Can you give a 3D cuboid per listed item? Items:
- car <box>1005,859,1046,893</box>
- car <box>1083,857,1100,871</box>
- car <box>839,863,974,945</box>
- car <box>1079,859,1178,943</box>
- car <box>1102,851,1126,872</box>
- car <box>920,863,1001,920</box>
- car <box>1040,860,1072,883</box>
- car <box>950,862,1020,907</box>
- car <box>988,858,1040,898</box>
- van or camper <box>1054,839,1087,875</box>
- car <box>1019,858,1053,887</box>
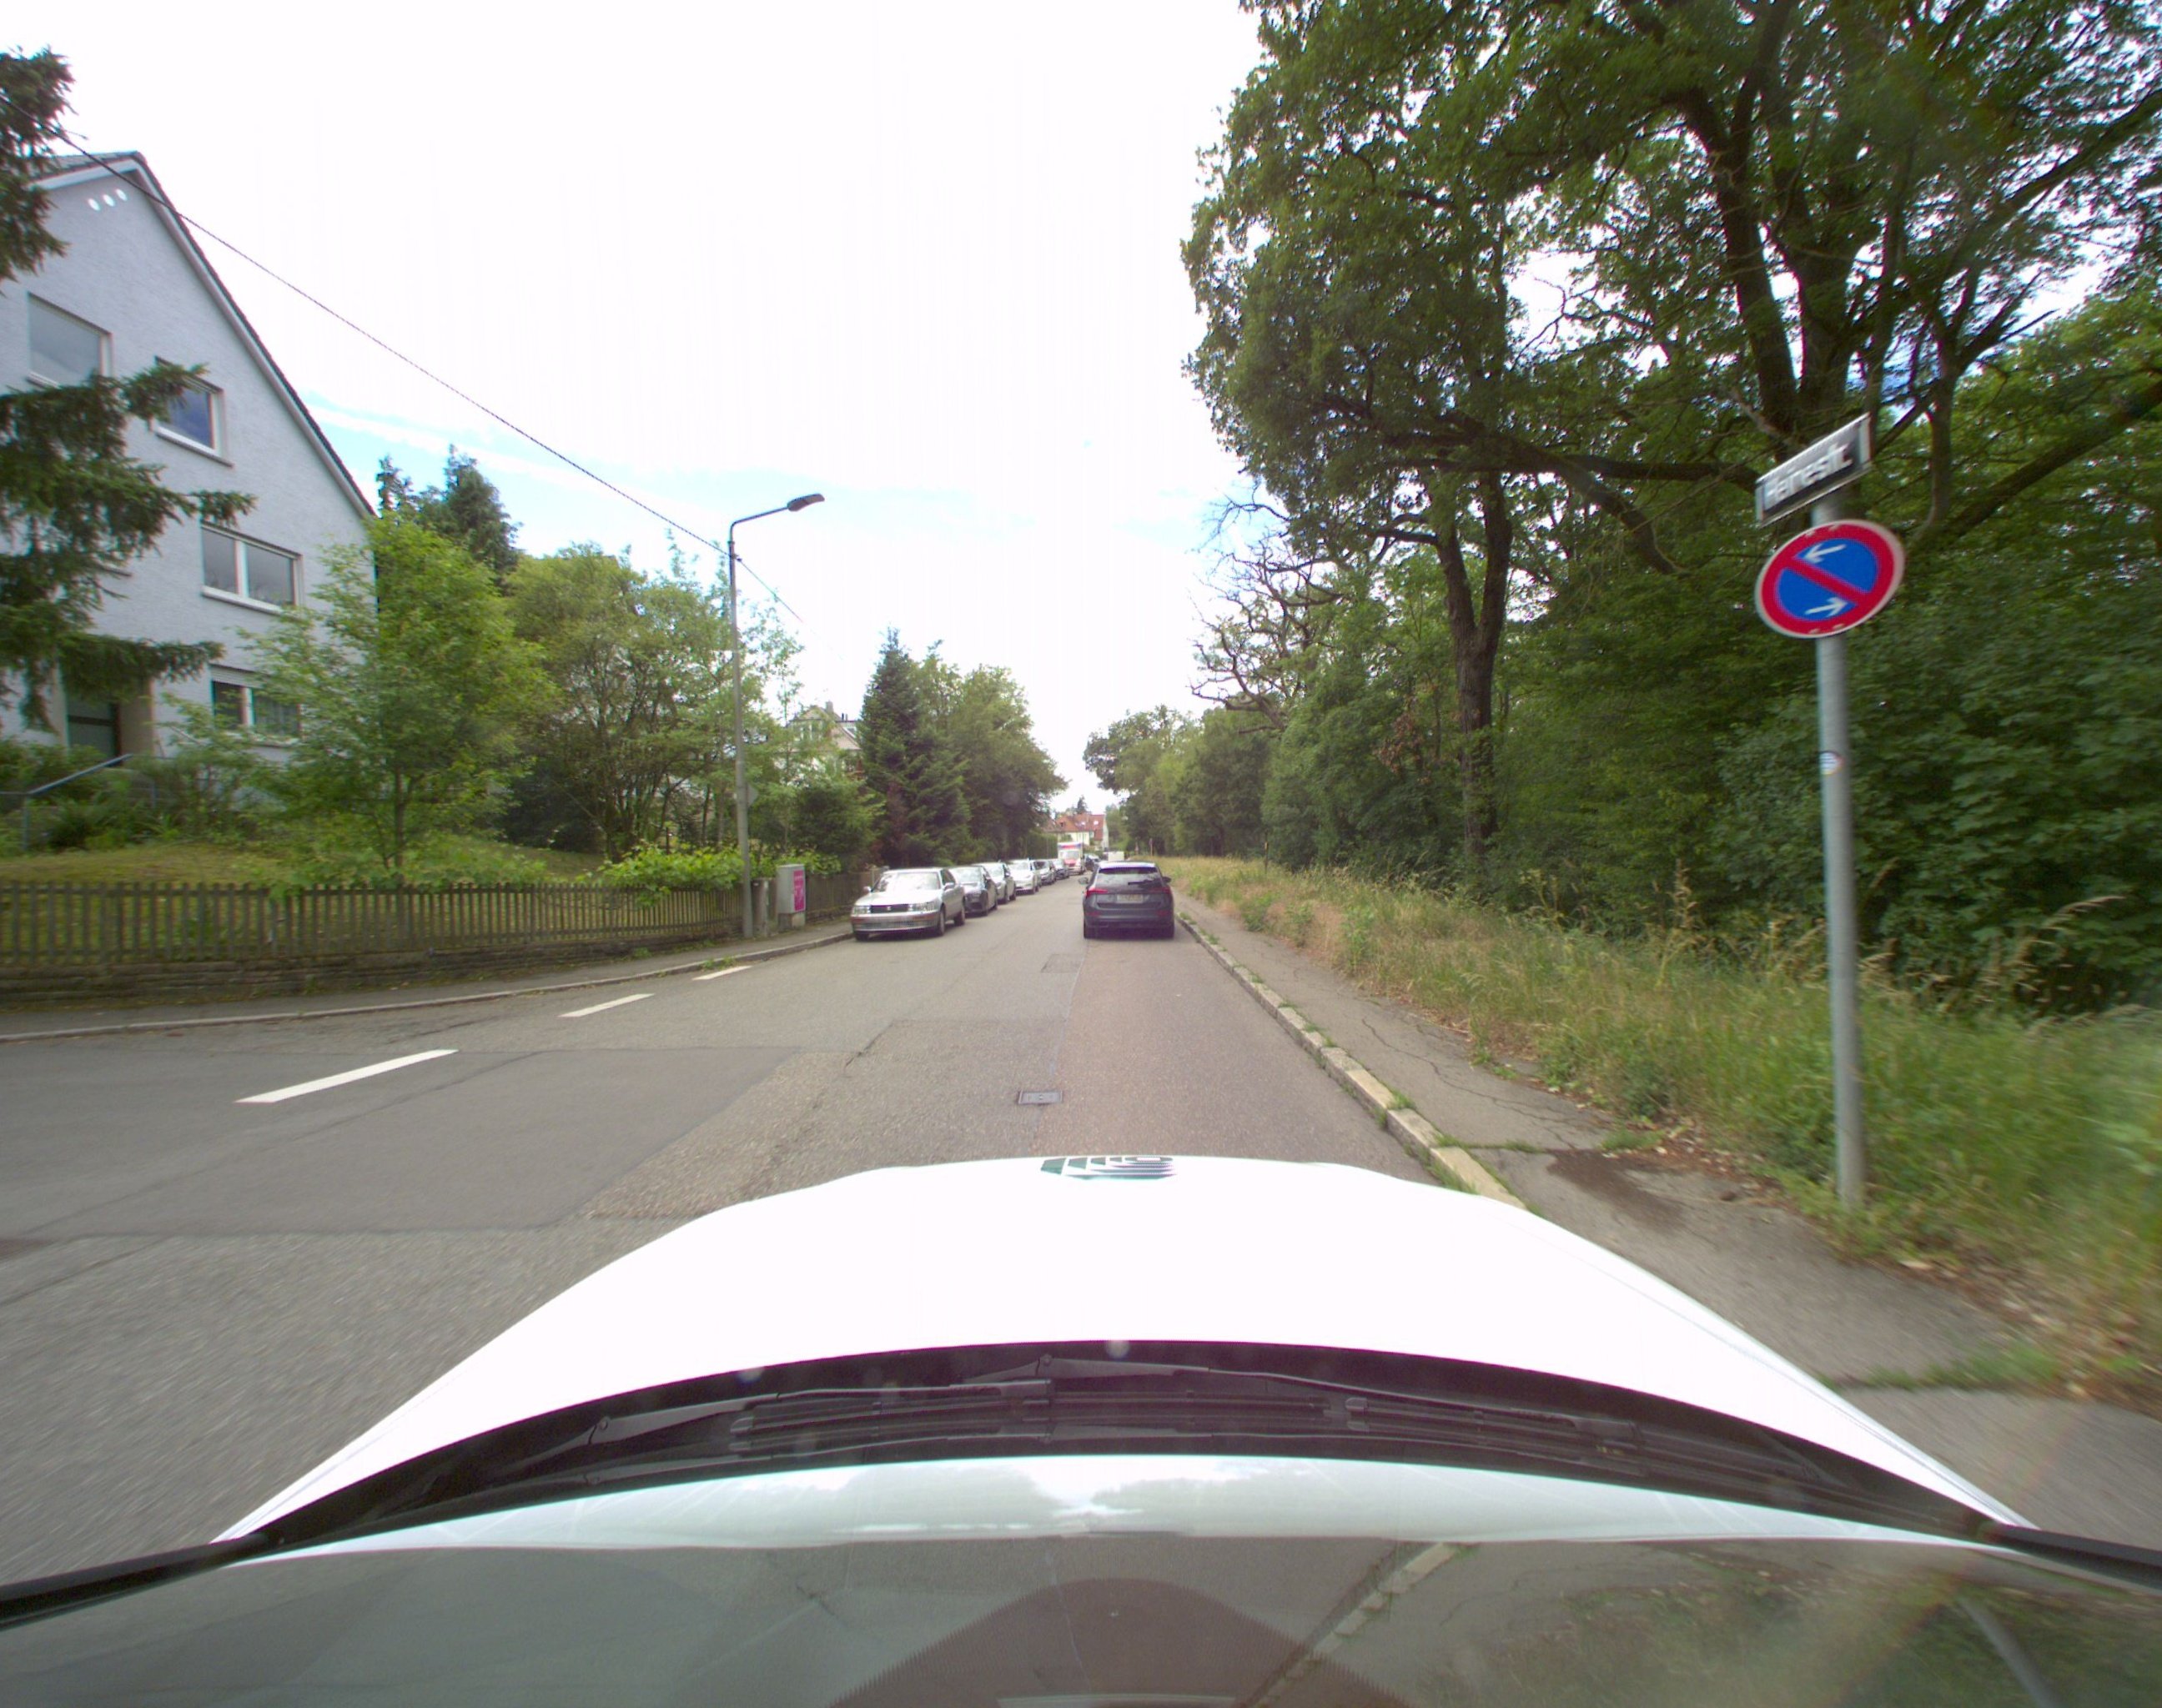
[{"bbox_3d":[-2.805,1.087,41.597,1.715,1.505,3.816,-4,0,0],"label":"car"},{"bbox_3d":[1.209,1.095,92.068,1.756,1.446,4.477,-2,0,3],"label":"car"},{"bbox_3d":[-3.668,0.985,18.064,1.842,1.439,4.910,-3,0,0],"label":"car"},{"bbox_3d":[0.842,0.851,16.749,1.722,1.439,4.322,-1,0,-1],"label":"car"},{"bbox_3d":[3.167,0.716,79.362,2.065,1.922,4.920,-1,0,-1],"label":"car"},{"bbox_3d":[-3.433,1.022,23.881,1.729,1.439,4.261,-3,0,-1],"label":"car"},{"bbox_3d":[-1.821,1.222,60.052,1.790,1.505,4.868,-4,-1,4],"label":"car"},{"bbox_3d":[-3.427,1.058,29.837,1.827,1.439,4.119,-3,0,2],"label":"car"},{"bbox_3d":[-2.971,1.021,36.965,1.910,1.562,4.603,-4,0,0],"label":"car"},{"bbox_3d":[-0.806,0.280,70.823,2.447,2.895,7.170,-2,0,2],"label":"van or camper"},{"bbox_3d":[-2.561,1.033,47.234,1.715,1.505,4.007,-4,-1,-1],"label":"car"}]
